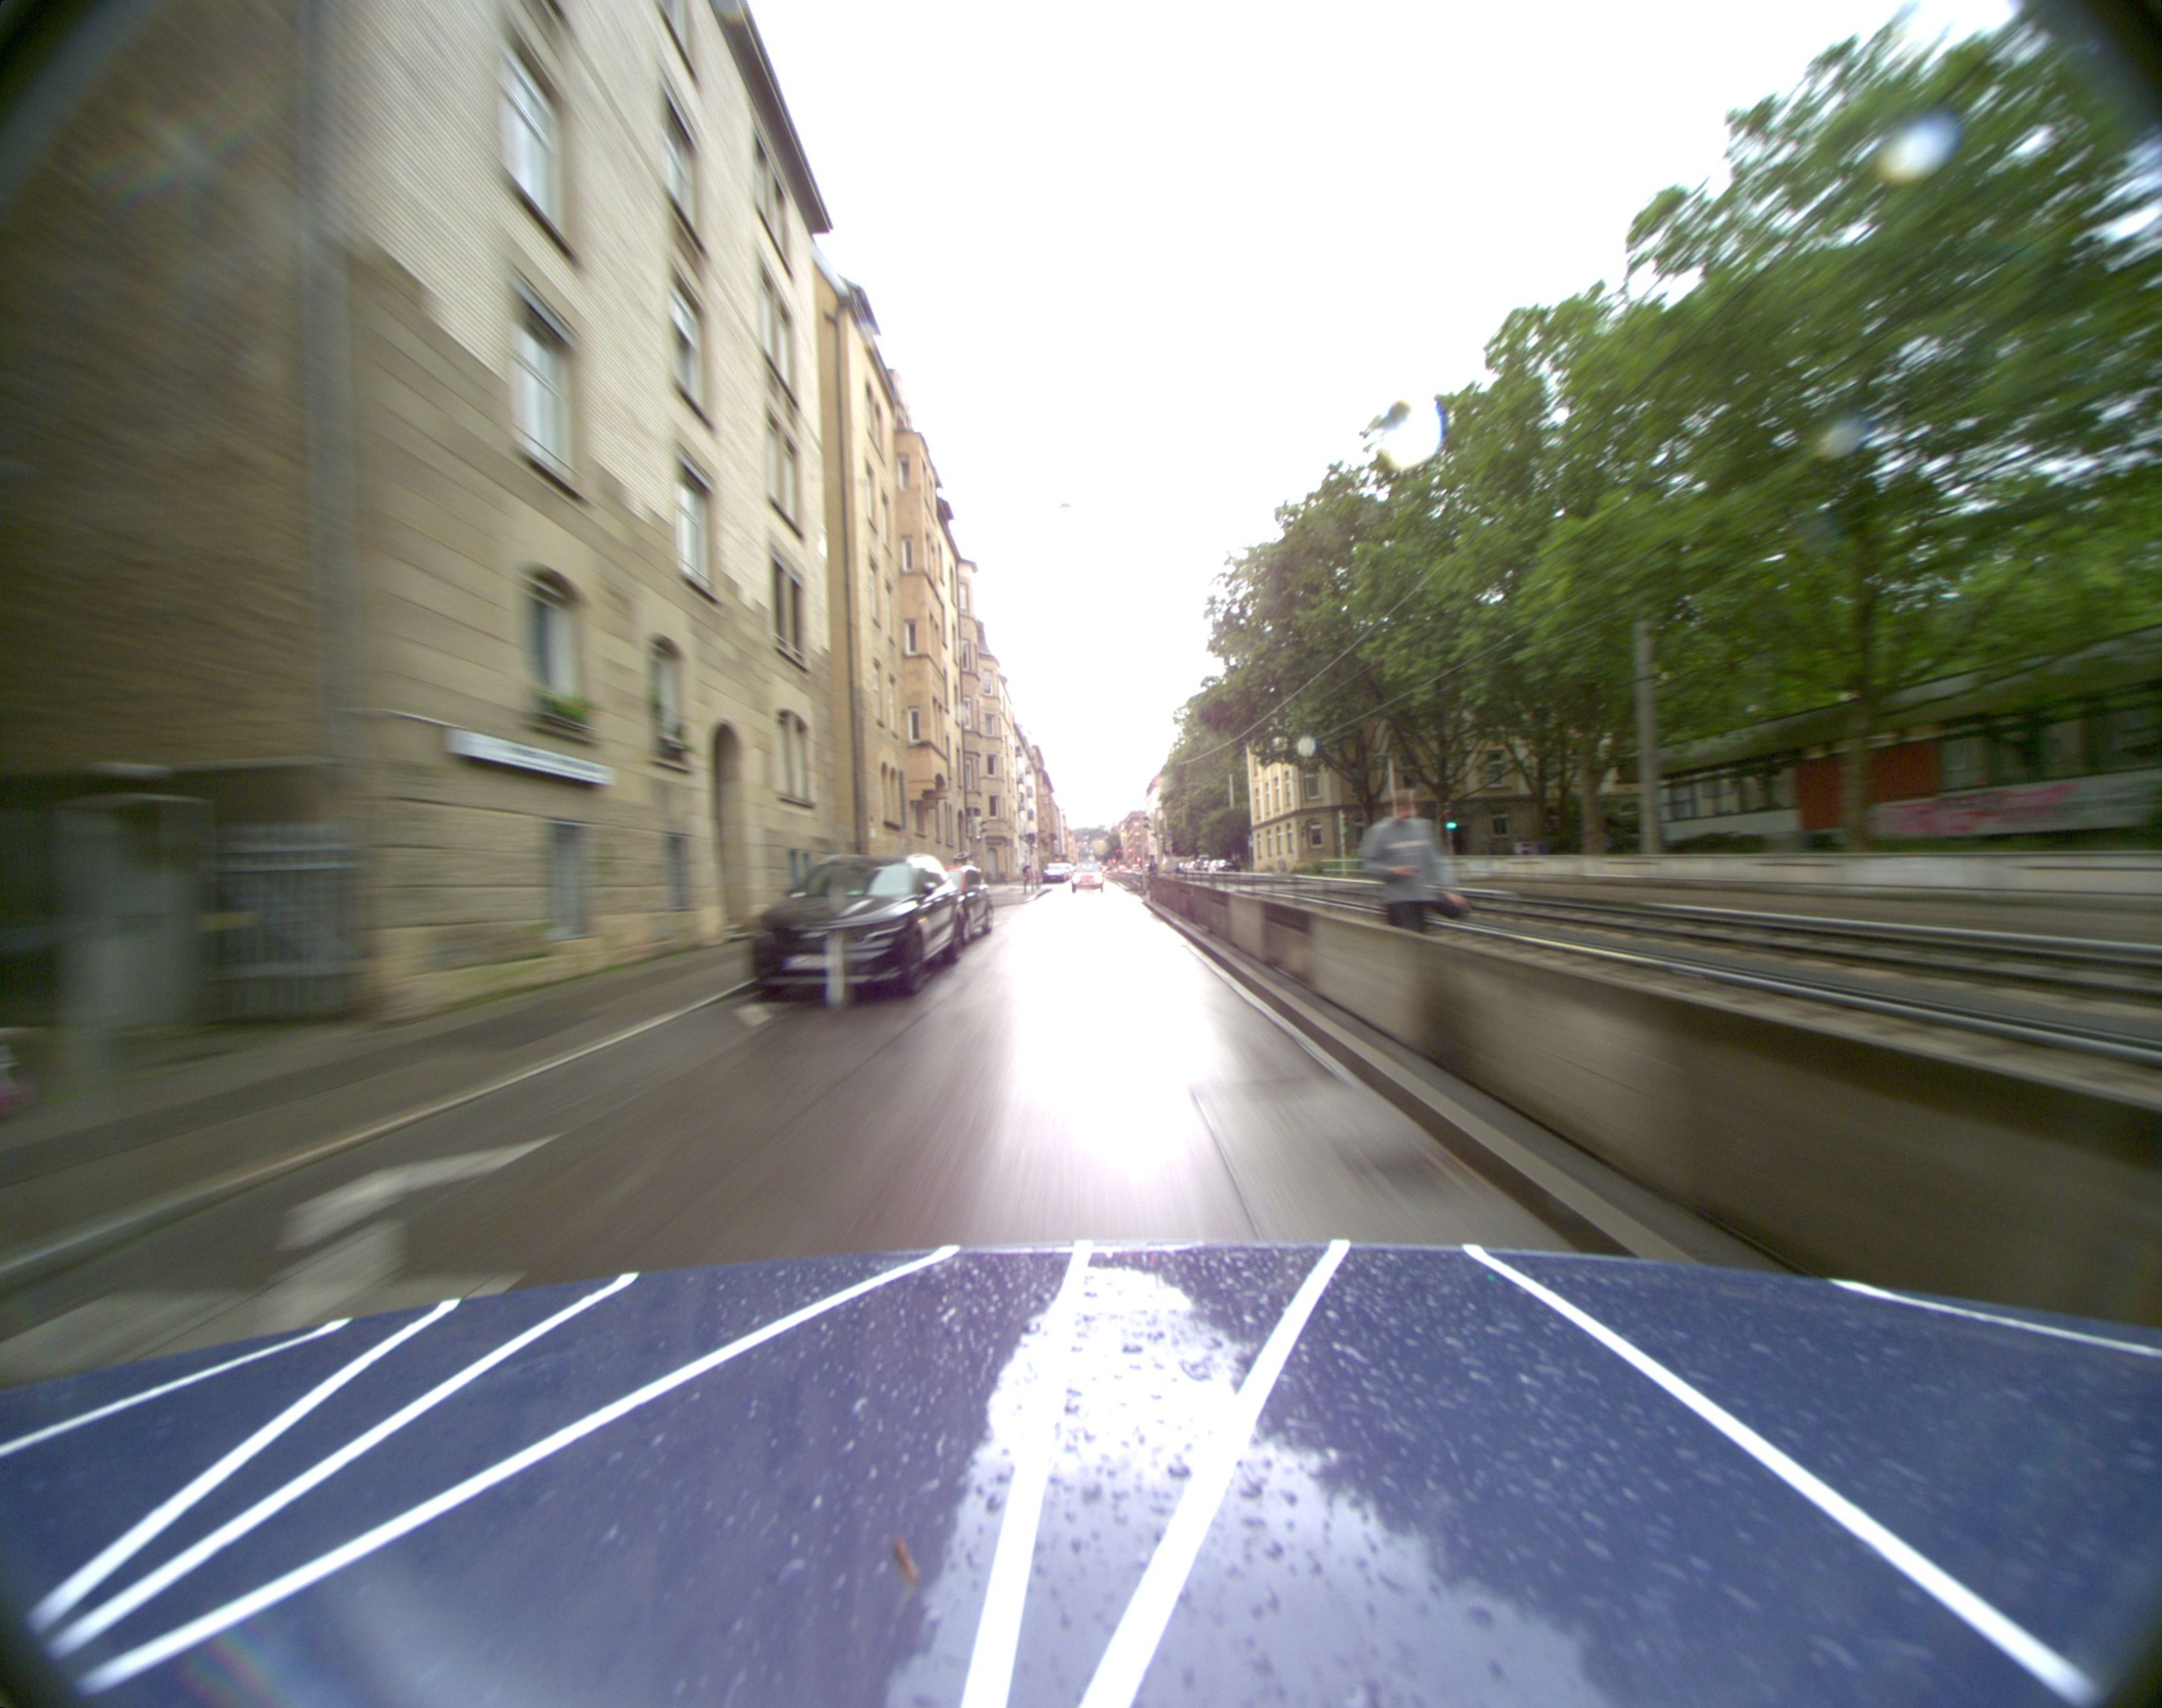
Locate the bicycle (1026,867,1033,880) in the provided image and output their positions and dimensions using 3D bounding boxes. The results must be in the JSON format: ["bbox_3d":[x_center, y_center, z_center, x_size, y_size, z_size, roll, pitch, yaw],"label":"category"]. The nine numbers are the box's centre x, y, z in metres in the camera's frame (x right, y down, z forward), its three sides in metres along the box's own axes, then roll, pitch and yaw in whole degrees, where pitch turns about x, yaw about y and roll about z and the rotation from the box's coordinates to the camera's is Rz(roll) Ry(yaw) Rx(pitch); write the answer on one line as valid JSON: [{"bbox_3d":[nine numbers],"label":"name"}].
[{"bbox_3d":[-4.145,1.591,61.259,0.339,1.008,1.676,0,-2,2],"label":"bicycle"}]

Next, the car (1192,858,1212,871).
[{"bbox_3d":[13.274,1.189,83.496,1.484,1.392,3.283,-2,-1,-2],"label":"car"}]

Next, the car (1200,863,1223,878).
[{"bbox_3d":[13.368,1.709,78.164,1.646,1.392,3.517,-3,-1,-1],"label":"car"}]

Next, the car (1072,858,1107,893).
[{"bbox_3d":[0.376,1.086,37.971,1.621,1.592,4.067,-2,-2,-1],"label":"car"}]

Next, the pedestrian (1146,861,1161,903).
[{"bbox_3d":[2.909,1.124,30.393,0.481,1.629,0.434,-3,-1,6],"label":"pedestrian"}]

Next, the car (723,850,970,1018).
[{"bbox_3d":[-2.805,0.882,10.265,1.770,1.698,4.500,-2,-1,1],"label":"car"}]

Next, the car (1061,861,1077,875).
[{"bbox_3d":[-1.361,1.685,90.397,1.745,1.649,4.001,-2,-1,1],"label":"car"}]

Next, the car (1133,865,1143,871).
[{"bbox_3d":[11.356,2.758,151.389,1.572,1.159,2.910,-2,-1,-3],"label":"car"}]

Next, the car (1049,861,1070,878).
[{"bbox_3d":[-1.950,1.450,70.779,1.745,1.507,4.001,-2,-1,1],"label":"car"}]

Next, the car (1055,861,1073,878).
[{"bbox_3d":[-1.840,1.725,81.819,1.745,1.729,4.001,-2,-1,1],"label":"car"}]

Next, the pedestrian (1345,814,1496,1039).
[{"bbox_3d":[2.902,0.592,6.588,0.861,1.788,0.787,-3,0,0],"label":"pedestrian"}]

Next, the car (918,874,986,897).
[{"bbox_3d":[-9.268,2.265,54.754,4.506,1.490,1.780,-2,-3,3],"label":"car"}]

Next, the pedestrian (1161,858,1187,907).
[{"bbox_3d":[3.286,0.998,26.826,0.651,1.694,0.662,-3,0,23],"label":"pedestrian"}]

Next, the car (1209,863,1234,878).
[{"bbox_3d":[13.523,1.609,73.295,1.646,1.392,3.517,-3,-1,-1],"label":"car"}]

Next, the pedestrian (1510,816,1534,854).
[{"bbox_3d":[21.815,-0.938,37.599,0.869,1.788,0.863,-3,0,34],"label":"pedestrian"}]

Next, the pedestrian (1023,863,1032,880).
[{"bbox_3d":[-4.304,1.407,61.142,0.510,1.362,0.404,-2,0,-25],"label":"pedestrian"}]

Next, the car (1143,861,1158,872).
[{"bbox_3d":[10.708,1.945,117.394,1.687,1.468,3.312,-4,-1,-4],"label":"car"}]

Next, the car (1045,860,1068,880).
[{"bbox_3d":[-2.048,1.317,63.704,1.745,1.576,4.001,-2,-1,0],"label":"car"}]

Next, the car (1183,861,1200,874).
[{"bbox_3d":[13.480,1.701,92.975,1.402,1.499,3.314,-2,-1,-2],"label":"car"}]

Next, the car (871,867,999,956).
[{"bbox_3d":[-2.832,1.079,15.551,1.665,1.444,3.610,-3,0,3],"label":"car"}]

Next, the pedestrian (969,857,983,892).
[{"bbox_3d":[-5.272,1.024,38.235,0.580,1.741,0.574,-1,-2,1],"label":"pedestrian"}]

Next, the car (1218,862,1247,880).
[{"bbox_3d":[13.659,1.510,68.849,1.892,1.468,3.807,-4,-1,1],"label":"car"}]

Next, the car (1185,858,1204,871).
[{"bbox_3d":[13.157,1.243,88.189,1.484,1.440,3.500,-2,-1,-2],"label":"car"}]
